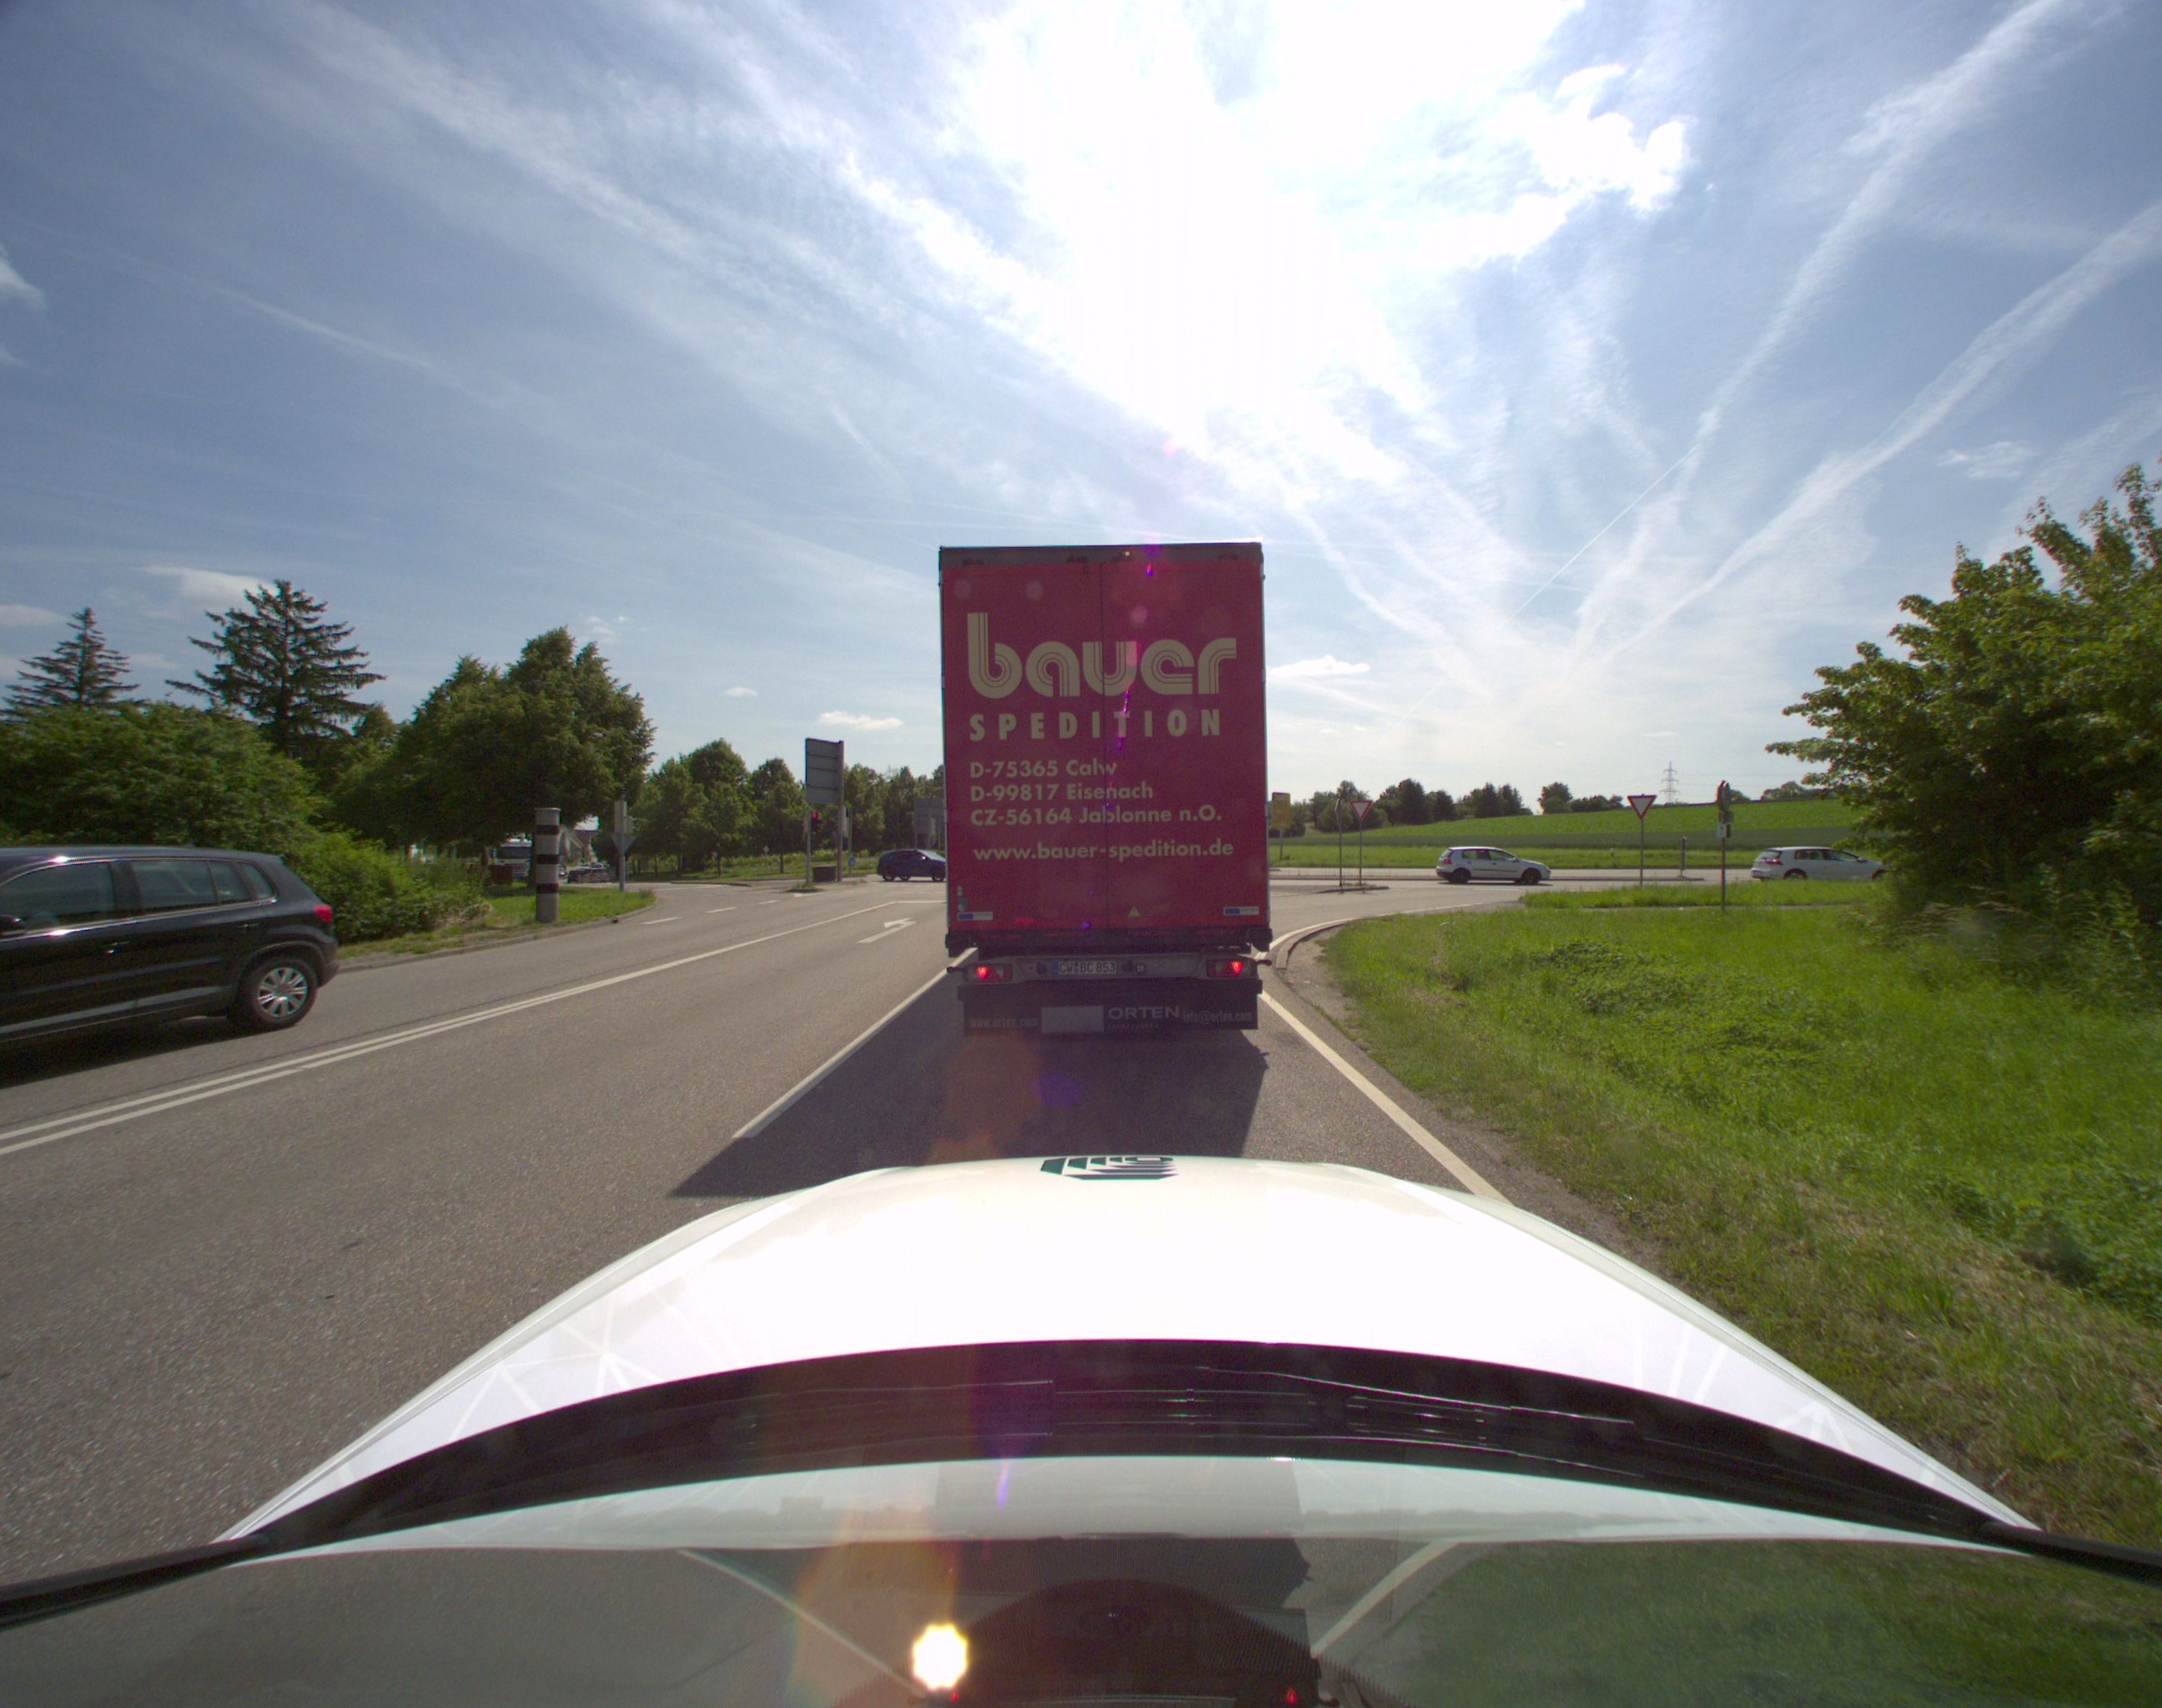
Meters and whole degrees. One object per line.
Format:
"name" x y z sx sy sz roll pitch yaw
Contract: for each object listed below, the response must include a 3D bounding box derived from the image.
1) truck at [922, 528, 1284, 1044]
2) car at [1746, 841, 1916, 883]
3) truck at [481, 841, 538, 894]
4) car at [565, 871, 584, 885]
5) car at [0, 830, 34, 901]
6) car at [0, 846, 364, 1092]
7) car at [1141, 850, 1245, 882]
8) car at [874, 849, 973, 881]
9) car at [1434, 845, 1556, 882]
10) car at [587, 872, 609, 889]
"truck" 0.400 -0.575 14.560 2.724 3.925 16.631 -1 0 2
"car" 27.209 0.301 29.717 4.214 1.461 1.817 0 -1 16
"truck" -43.894 1.011 62.432 2.961 3.798 7.834 0 -1 -39
"car" -53.771 2.518 86.454 1.748 1.305 4.237 -1 0 -32
"car" -35.457 0.331 24.397 4.601 2.180 1.985 0 0 -22
"car" -7.929 0.750 5.844 1.798 1.597 4.267 0 0 -1
"car" 4.839 0.510 34.999 4.235 1.305 1.749 0 -1 15
"car" -7.386 0.516 38.284 4.235 1.429 1.749 0 -1 15
"car" 16.424 0.355 32.507 4.007 1.417 1.801 0 0 12
"car" -43.457 2.373 73.222 1.543 1.491 3.966 0 -1 -33
